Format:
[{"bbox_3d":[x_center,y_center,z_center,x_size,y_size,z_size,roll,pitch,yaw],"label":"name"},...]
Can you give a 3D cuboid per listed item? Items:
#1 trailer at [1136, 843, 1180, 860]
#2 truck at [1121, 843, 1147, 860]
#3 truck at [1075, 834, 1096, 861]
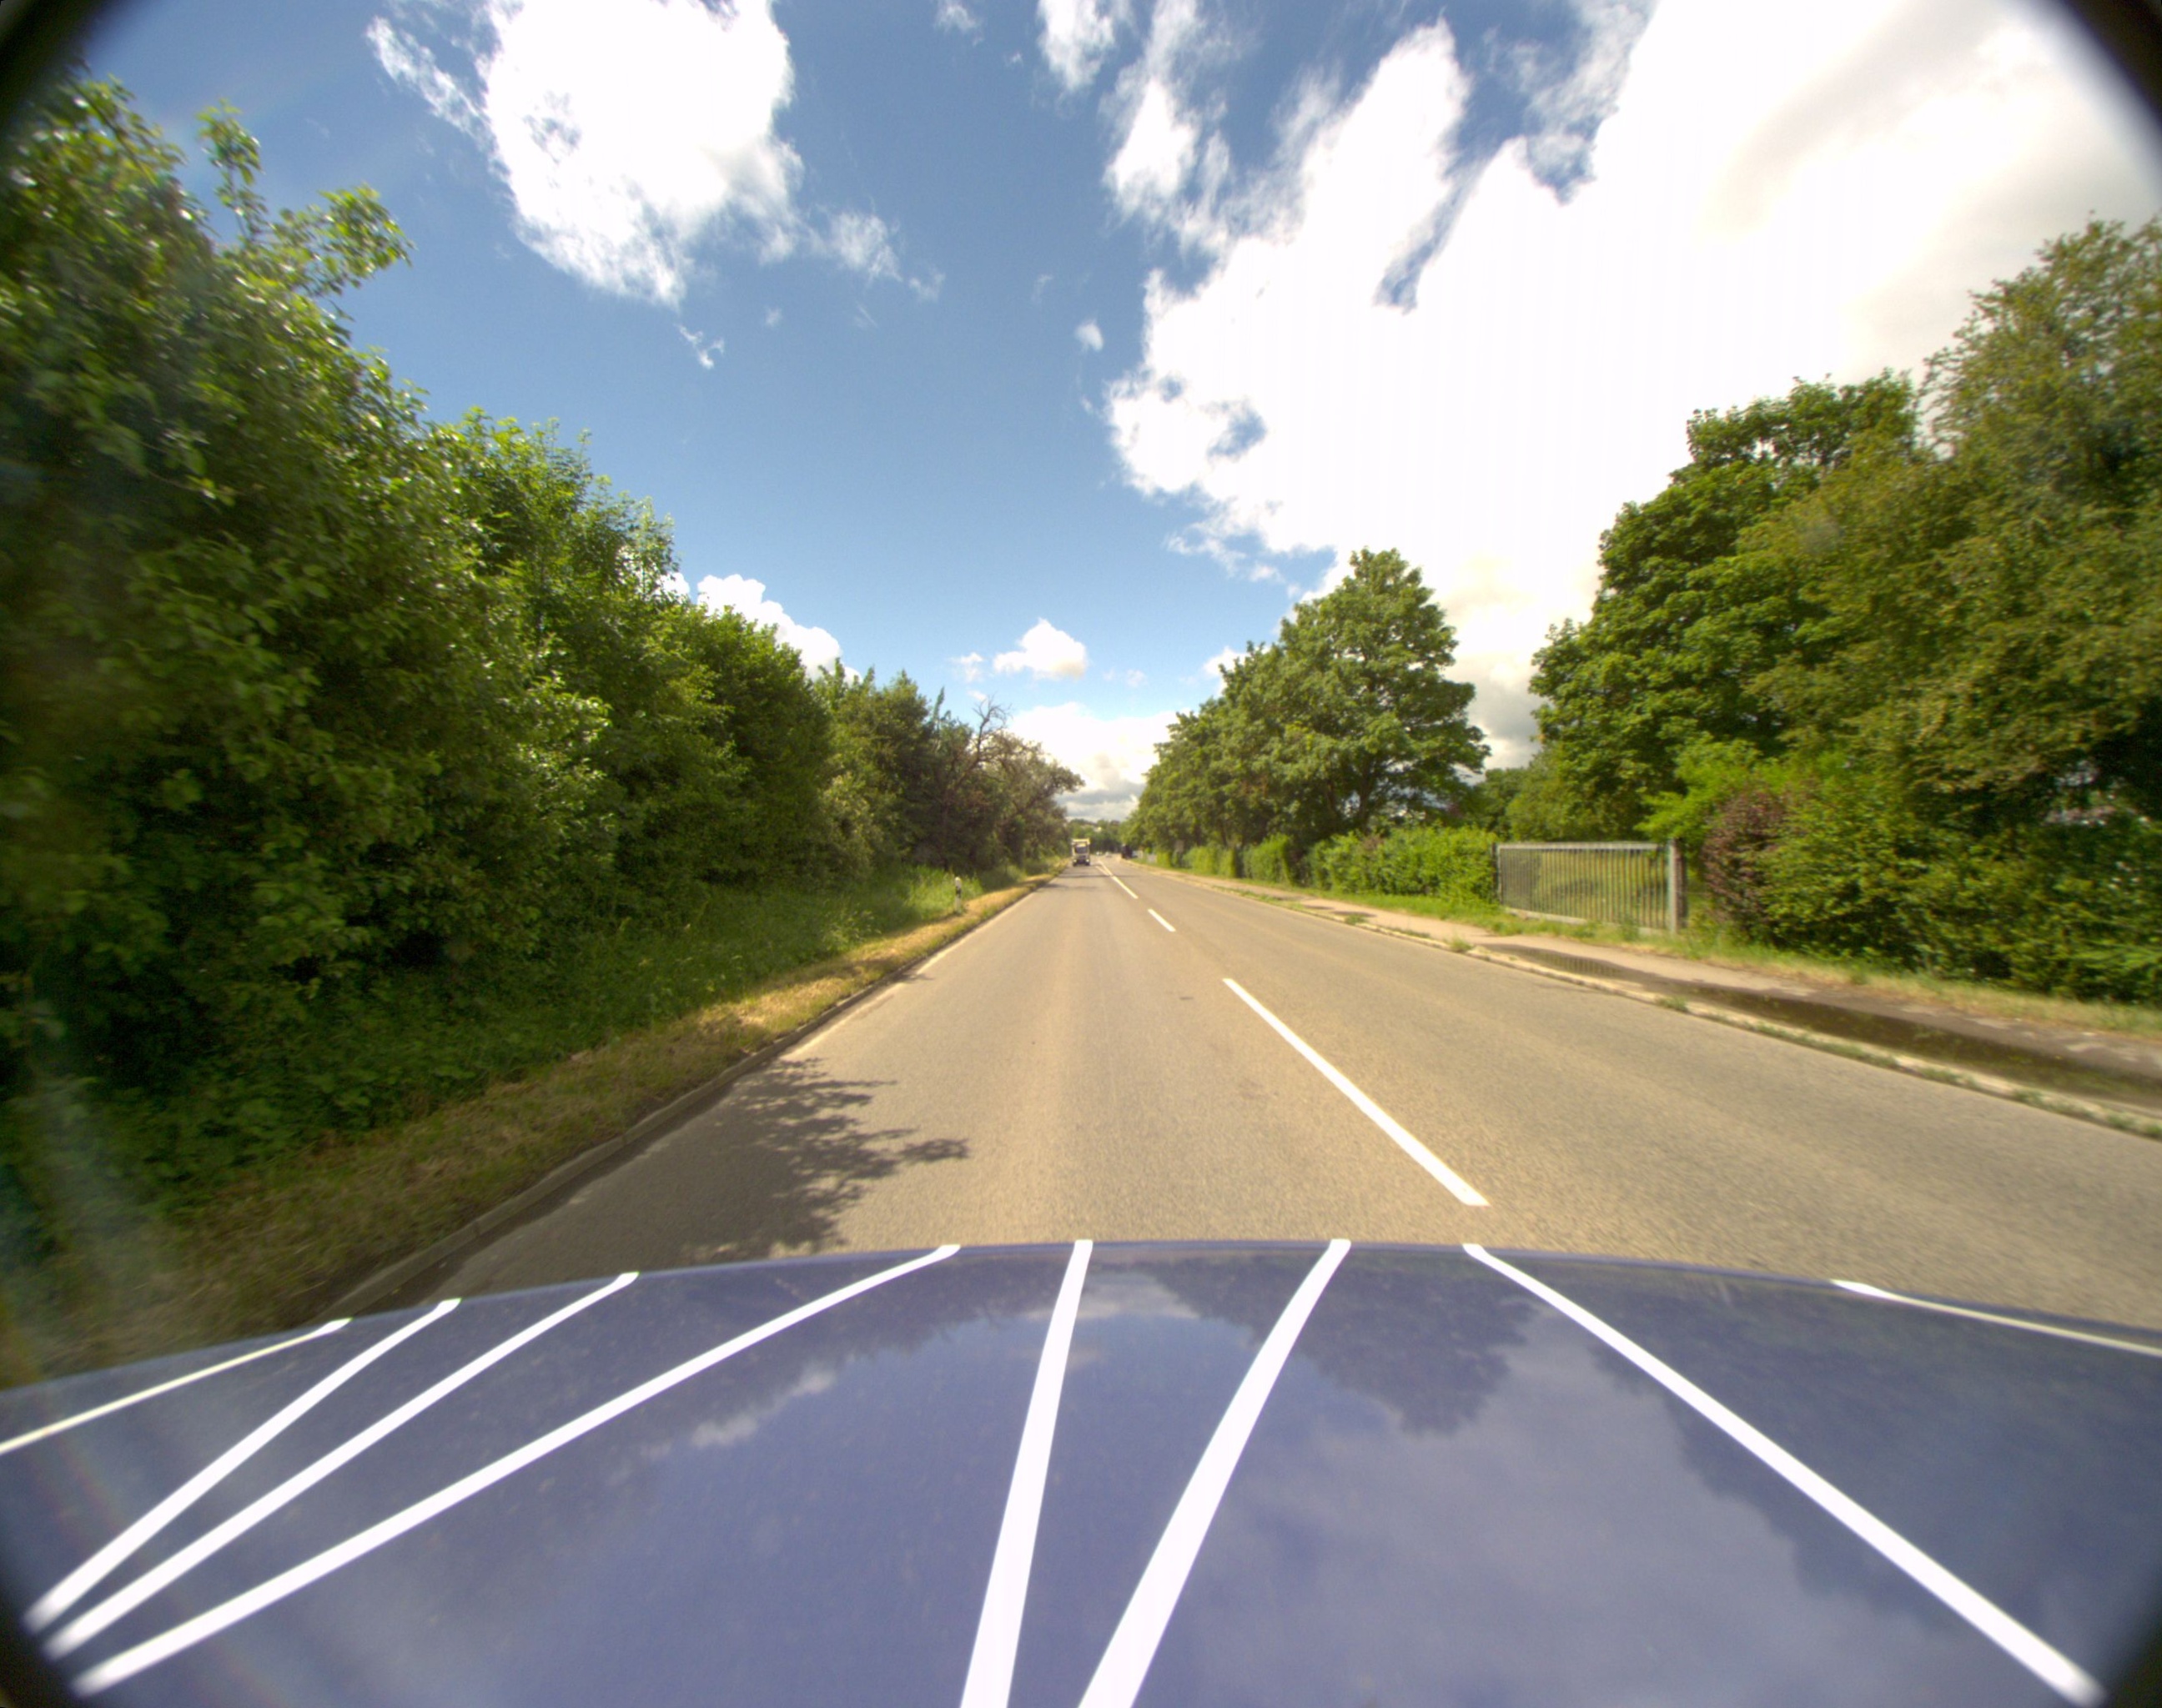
[{"bbox_3d":[17.730,-0.594,174.994,9.472,4.059,3.315,0,1,-15],"label":"trailer"},{"bbox_3d":[12.144,-0.525,173.856,5.570,3.801,2.983,0,1,-4],"label":"truck"},{"bbox_3d":[0.654,-1.009,110.597,2.904,3.746,9.634,0,1,0],"label":"truck"}]
